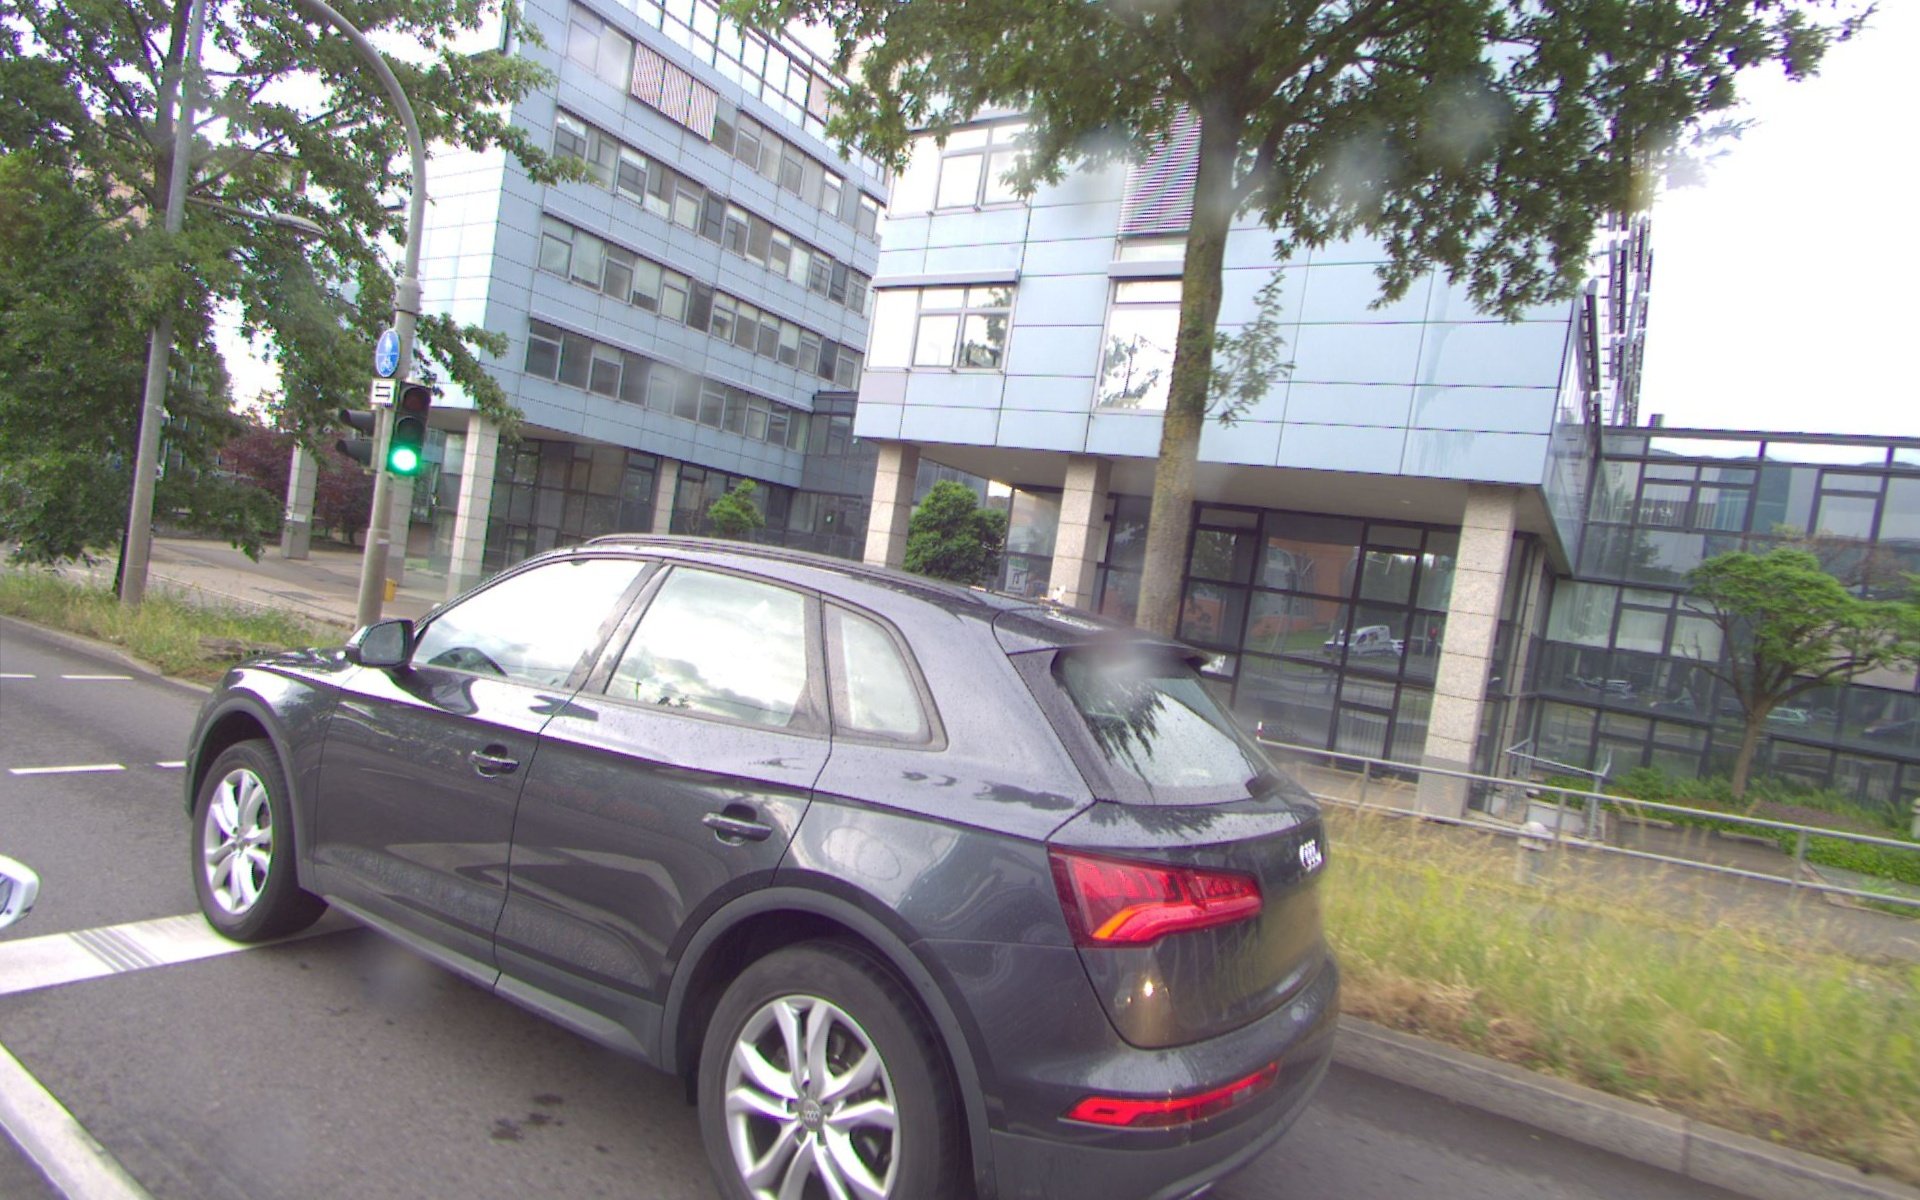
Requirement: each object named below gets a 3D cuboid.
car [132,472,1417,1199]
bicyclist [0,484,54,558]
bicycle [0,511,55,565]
[{"bbox_3d":[-0.918,0.591,3.678,4.396,1.632,1.821,7,-1,32],"label":"car"},{"bbox_3d":[-22.246,-1.875,23.931,0.840,1.597,0.647,7,-1,32],"label":"bicyclist"},{"bbox_3d":[-22.380,-1.492,24.002,1.874,1.101,0.581,7,-1,32],"label":"bicycle"}]
